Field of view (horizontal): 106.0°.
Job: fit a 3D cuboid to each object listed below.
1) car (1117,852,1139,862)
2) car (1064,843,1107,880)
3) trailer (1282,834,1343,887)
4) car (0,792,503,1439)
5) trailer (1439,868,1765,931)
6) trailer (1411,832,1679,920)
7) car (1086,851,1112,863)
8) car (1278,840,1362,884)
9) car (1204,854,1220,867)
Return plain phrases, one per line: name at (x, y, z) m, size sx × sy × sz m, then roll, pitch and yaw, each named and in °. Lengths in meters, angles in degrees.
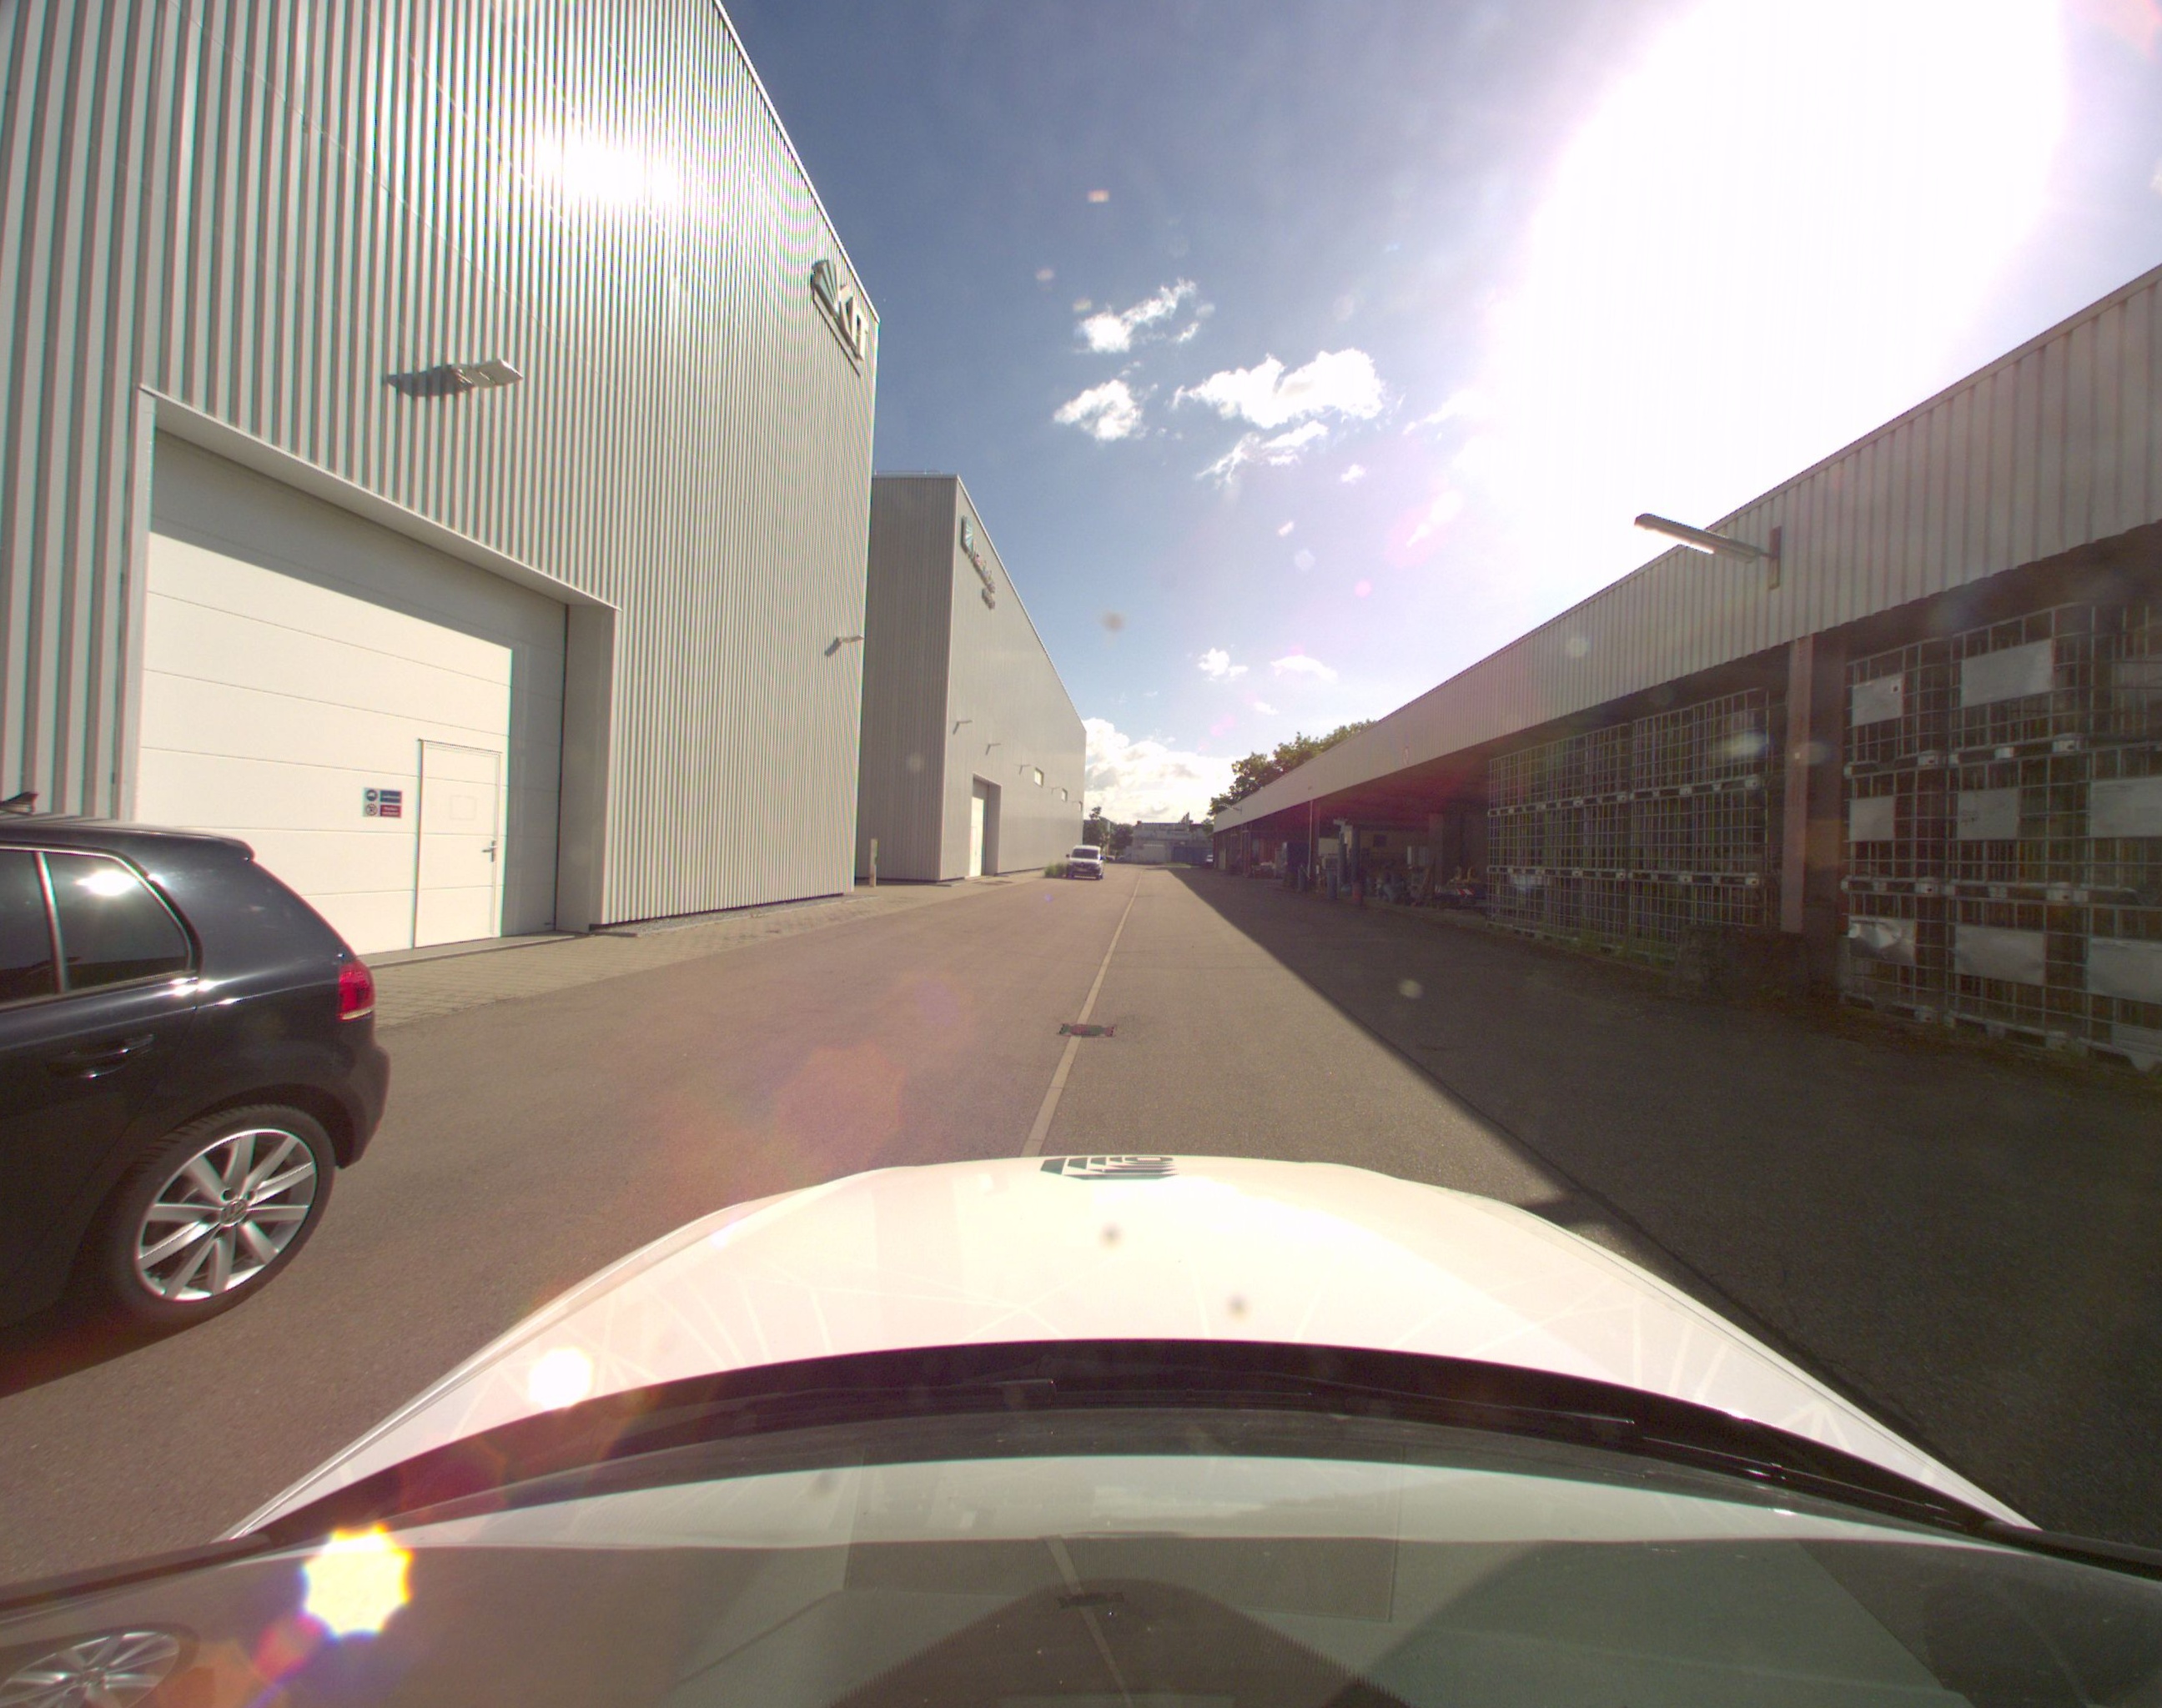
car at (8.874, 0.493, 153.780) m, size 3.970 × 1.598 × 1.849 m, roll 3°, pitch -2°, yaw 3°
car at (0.292, 0.376, 43.875) m, size 1.810 × 1.787 × 4.411 m, roll 3°, pitch 1°, yaw 5°
trailer at (11.215, 0.317, 39.617) m, size 2.511 × 2.399 × 1.729 m, roll 2°, pitch -1°, yaw 5°
car at (-3.435, 0.571, 1.204) m, size 1.746 × 1.500 × 4.300 m, roll 4°, pitch 0°, yaw 5°
trailer at (11.308, 0.960, 18.058) m, size 5.824 × 1.133 × 2.143 m, roll 1°, pitch 0°, yaw 2°
trailer at (11.887, 0.522, 21.240) m, size 5.738 × 2.032 × 2.081 m, roll 1°, pitch 0°, yaw 5°
car at (2.778, 0.437, 126.230) m, size 3.970 × 1.598 × 1.743 m, roll 3°, pitch -2°, yaw 3°
car at (14.095, 0.492, 48.230) m, size 4.411 × 2.310 × 1.918 m, roll 3°, pitch -2°, yaw 5°
car at (18.134, 0.916, 112.659) m, size 1.952 × 1.564 × 4.066 m, roll 3°, pitch 1°, yaw 7°
